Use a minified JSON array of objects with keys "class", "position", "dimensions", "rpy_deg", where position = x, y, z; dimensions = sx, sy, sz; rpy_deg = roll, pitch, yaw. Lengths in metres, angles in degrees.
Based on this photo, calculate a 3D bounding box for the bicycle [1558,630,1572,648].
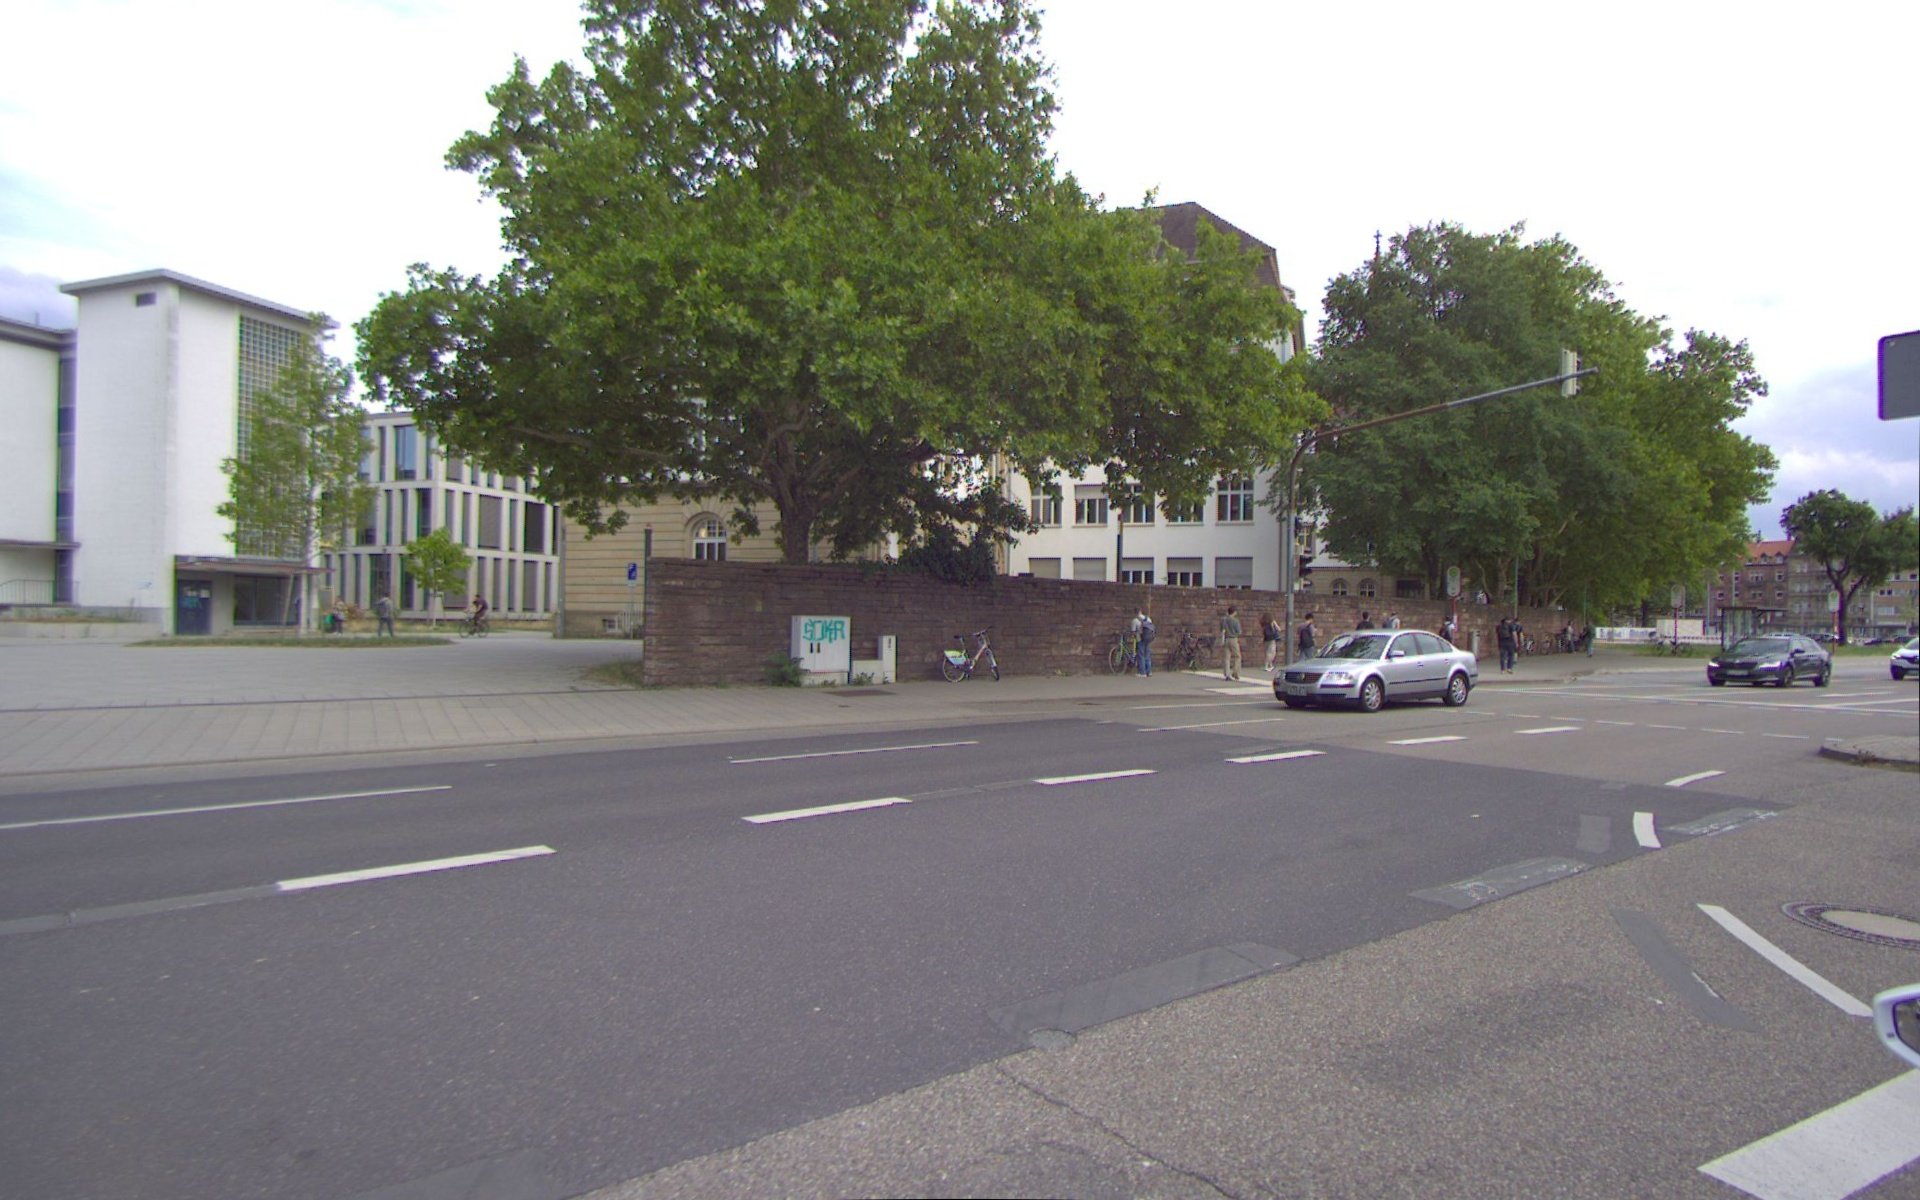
[{"class":"bicycle","position":[30.989,1.998,51.473],"dimensions":[0.342,0.890,1.515],"rpy_deg":[4,1,40]}]

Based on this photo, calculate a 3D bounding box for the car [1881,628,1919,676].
[{"class":"car","position":[35.730,1.889,36.829],"dimensions":[4.374,1.674,1.854],"rpy_deg":[2,-1,-33]}]

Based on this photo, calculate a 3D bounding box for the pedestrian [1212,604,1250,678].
[{"class":"pedestrian","position":[6.780,1.017,25.136],"dimensions":[0.733,1.806,0.783],"rpy_deg":[2,-1,25]}]

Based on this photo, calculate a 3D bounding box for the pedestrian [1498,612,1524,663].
[{"class":"pedestrian","position":[19.988,1.353,36.436],"dimensions":[0.747,1.806,0.923],"rpy_deg":[2,-1,29]}]

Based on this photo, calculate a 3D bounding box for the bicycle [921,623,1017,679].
[{"class":"bicycle","position":[0.219,1.092,21.910],"dimensions":[2.145,1.141,0.573],"rpy_deg":[1,2,-37]}]

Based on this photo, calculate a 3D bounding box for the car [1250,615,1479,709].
[{"class":"car","position":[7.532,1.077,18.539],"dimensions":[4.500,1.509,1.750],"rpy_deg":[1,-1,-35]}]

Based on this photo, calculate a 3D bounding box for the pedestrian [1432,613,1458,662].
[{"class":"pedestrian","position":[17.196,1.322,35.612],"dimensions":[0.747,1.693,0.923],"rpy_deg":[2,-1,29]}]

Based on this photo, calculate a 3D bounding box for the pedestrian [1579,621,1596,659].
[{"class":"pedestrian","position":[28.983,1.853,46.395],"dimensions":[0.553,1.690,0.624],"rpy_deg":[1,-1,41]}]

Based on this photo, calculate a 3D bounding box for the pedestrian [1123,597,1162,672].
[{"class":"pedestrian","position":[4.558,0.856,25.025],"dimensions":[0.732,1.806,0.783],"rpy_deg":[2,-1,23]}]

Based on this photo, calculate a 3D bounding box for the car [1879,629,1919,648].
[{"class":"car","position":[83.714,3.425,87.839],"dimensions":[1.645,1.495,4.635],"rpy_deg":[1,1,-36]}]

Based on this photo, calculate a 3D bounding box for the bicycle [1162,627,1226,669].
[{"class":"bicycle","position":[6.339,1.281,27.139],"dimensions":[1.964,1.072,0.544],"rpy_deg":[1,3,-39]}]

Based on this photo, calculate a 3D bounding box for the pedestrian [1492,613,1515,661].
[{"class":"pedestrian","position":[20.730,1.415,38.303],"dimensions":[0.747,1.806,0.783],"rpy_deg":[2,-1,29]}]

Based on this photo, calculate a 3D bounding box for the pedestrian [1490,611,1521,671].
[{"class":"pedestrian","position":[16.944,1.273,31.185],"dimensions":[0.748,1.806,0.720],"rpy_deg":[1,-1,34]}]

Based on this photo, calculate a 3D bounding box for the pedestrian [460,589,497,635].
[{"class":"pedestrian","position":[-21.758,0.554,45.407],"dimensions":[0.899,2.040,1.232],"rpy_deg":[1,-1,16]}]

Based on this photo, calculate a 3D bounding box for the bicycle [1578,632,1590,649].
[{"class":"bicycle","position":[35.773,2.315,57.589],"dimensions":[0.474,0.919,1.616],"rpy_deg":[0,-1,35]}]

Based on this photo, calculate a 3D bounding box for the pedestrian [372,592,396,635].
[{"class":"pedestrian","position":[-21.218,0.499,37.030],"dimensions":[0.727,1.569,0.699],"rpy_deg":[1,-1,-29]}]

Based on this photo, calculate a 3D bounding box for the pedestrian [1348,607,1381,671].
[{"class":"pedestrian","position":[11.767,1.139,29.234],"dimensions":[0.747,1.806,0.783],"rpy_deg":[2,-1,29]}]

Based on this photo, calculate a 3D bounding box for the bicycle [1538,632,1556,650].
[{"class":"bicycle","position":[28.066,1.958,48.056],"dimensions":[0.435,0.838,1.613],"rpy_deg":[4,1,40]}]

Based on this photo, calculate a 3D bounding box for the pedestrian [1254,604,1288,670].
[{"class":"pedestrian","position":[8.863,1.046,28.588],"dimensions":[0.747,1.806,0.783],"rpy_deg":[2,-1,26]}]

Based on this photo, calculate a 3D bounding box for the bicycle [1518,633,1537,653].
[{"class":"bicycle","position":[25.505,1.923,45.130],"dimensions":[0.435,0.838,1.613],"rpy_deg":[4,1,40]}]

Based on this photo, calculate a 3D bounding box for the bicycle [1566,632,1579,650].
[{"class":"bicycle","position":[32.602,2.176,53.456],"dimensions":[0.435,0.890,1.615],"rpy_deg":[4,1,37]}]

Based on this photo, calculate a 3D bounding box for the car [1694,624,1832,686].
[{"class":"car","position":[23.607,1.572,29.492],"dimensions":[4.696,1.637,1.885],"rpy_deg":[1,-1,-35]}]

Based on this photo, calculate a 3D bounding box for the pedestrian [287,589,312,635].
[{"class":"pedestrian","position":[-22.880,0.423,34.803],"dimensions":[0.649,1.569,0.705],"rpy_deg":[1,-1,-29]}]

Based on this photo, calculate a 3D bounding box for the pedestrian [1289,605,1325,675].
[{"class":"pedestrian","position":[9.217,1.070,26.694],"dimensions":[0.747,1.806,0.783],"rpy_deg":[2,-1,28]}]

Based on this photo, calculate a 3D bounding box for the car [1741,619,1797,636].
[{"class":"car","position":[80.705,2.737,100.232],"dimensions":[1.632,1.671,4.123],"rpy_deg":[1,-1,-37]}]

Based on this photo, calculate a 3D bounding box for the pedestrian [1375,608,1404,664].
[{"class":"pedestrian","position":[14.148,1.187,33.099],"dimensions":[0.747,1.806,0.913],"rpy_deg":[2,-1,29]}]

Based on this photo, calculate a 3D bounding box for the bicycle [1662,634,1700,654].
[{"class":"bicycle","position":[35.382,2.173,49.288],"dimensions":[2.307,0.931,0.468],"rpy_deg":[1,0,-25]}]

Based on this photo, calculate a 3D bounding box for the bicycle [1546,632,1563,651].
[{"class":"bicycle","position":[29.495,2.053,49.840],"dimensions":[0.411,0.890,1.548],"rpy_deg":[4,1,40]}]
